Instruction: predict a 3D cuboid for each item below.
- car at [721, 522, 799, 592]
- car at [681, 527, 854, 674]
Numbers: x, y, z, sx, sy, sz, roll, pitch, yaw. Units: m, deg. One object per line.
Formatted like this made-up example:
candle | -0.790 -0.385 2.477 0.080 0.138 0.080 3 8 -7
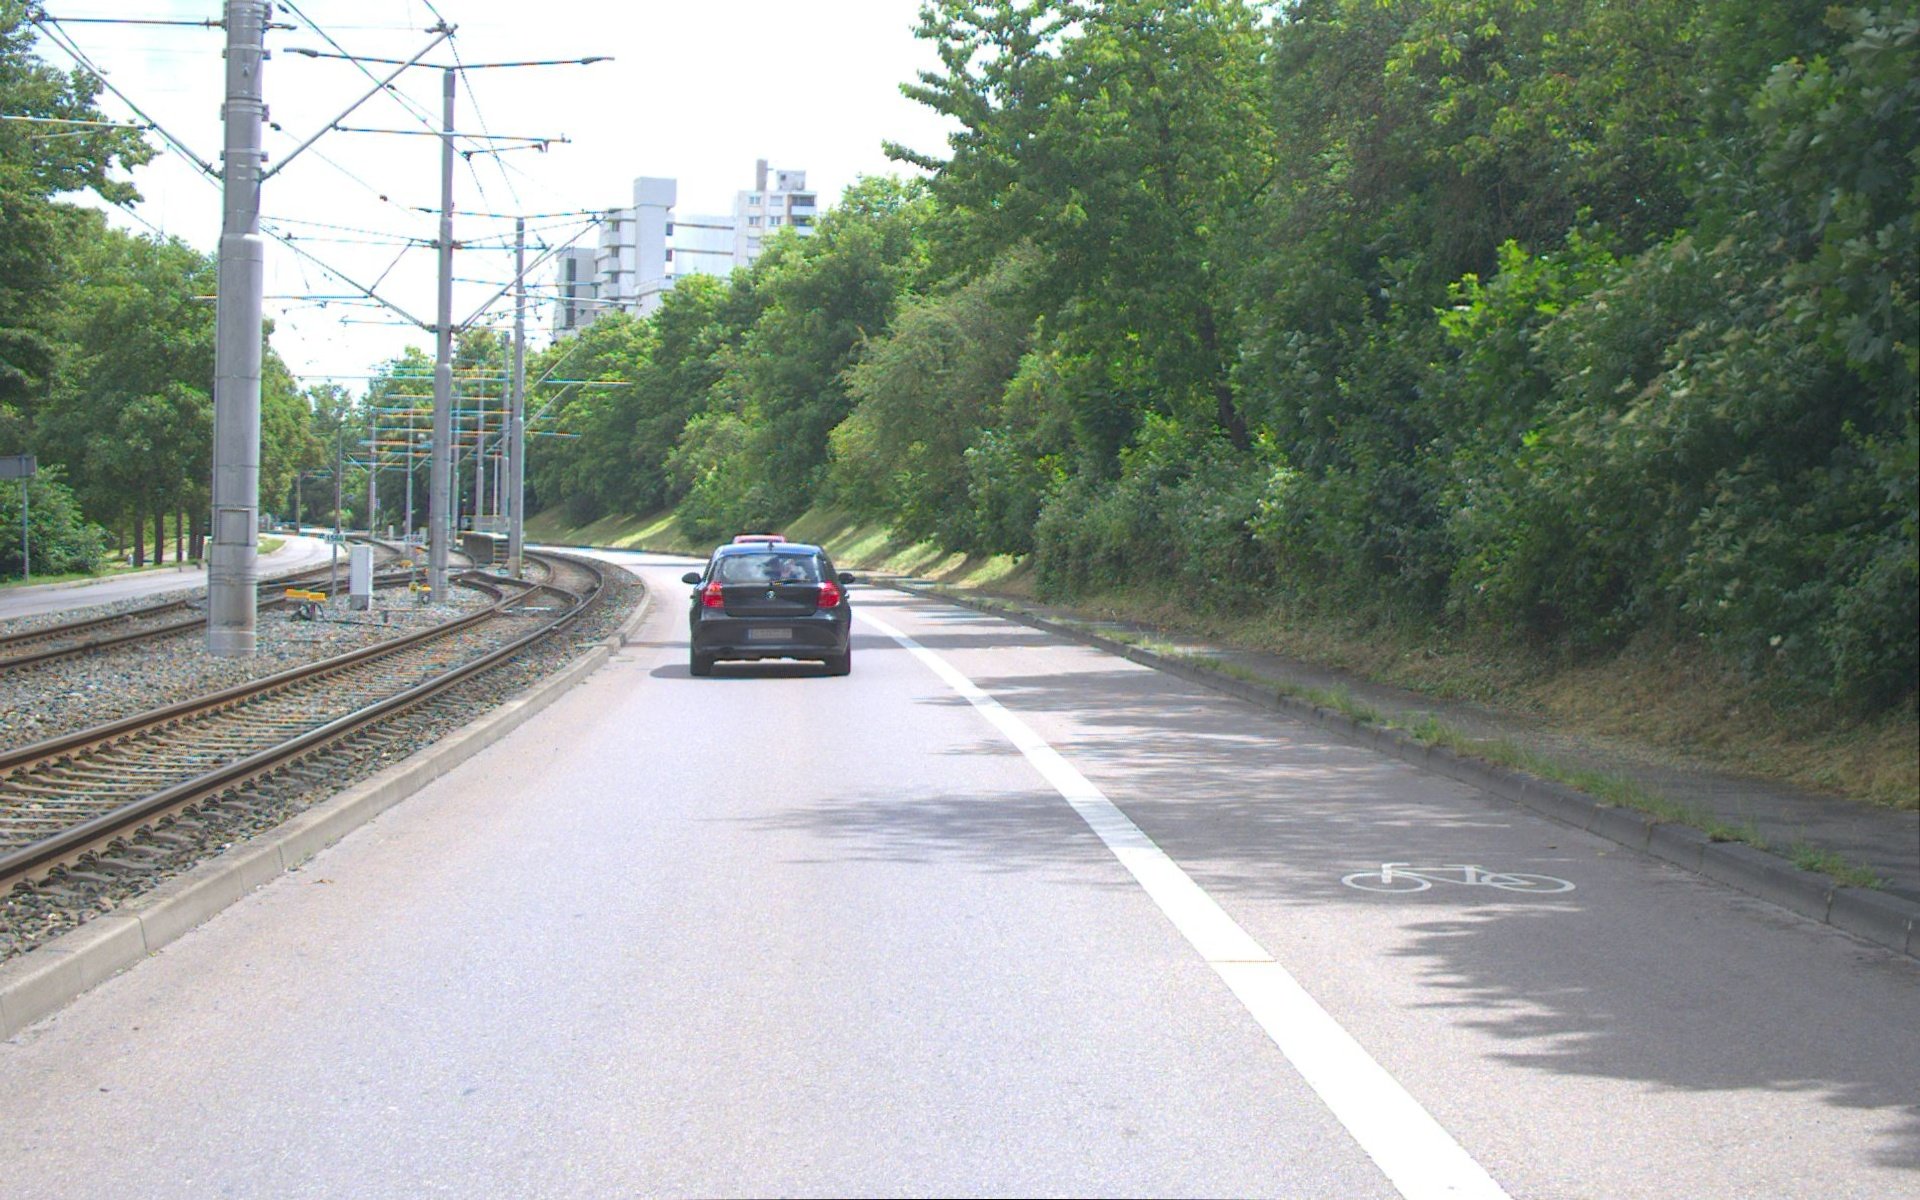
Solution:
car | -4.469 -0.940 77.077 1.624 1.438 3.421 2 -1 -2
car | -2.066 -0.010 37.799 1.708 1.455 3.960 3 0 -1
